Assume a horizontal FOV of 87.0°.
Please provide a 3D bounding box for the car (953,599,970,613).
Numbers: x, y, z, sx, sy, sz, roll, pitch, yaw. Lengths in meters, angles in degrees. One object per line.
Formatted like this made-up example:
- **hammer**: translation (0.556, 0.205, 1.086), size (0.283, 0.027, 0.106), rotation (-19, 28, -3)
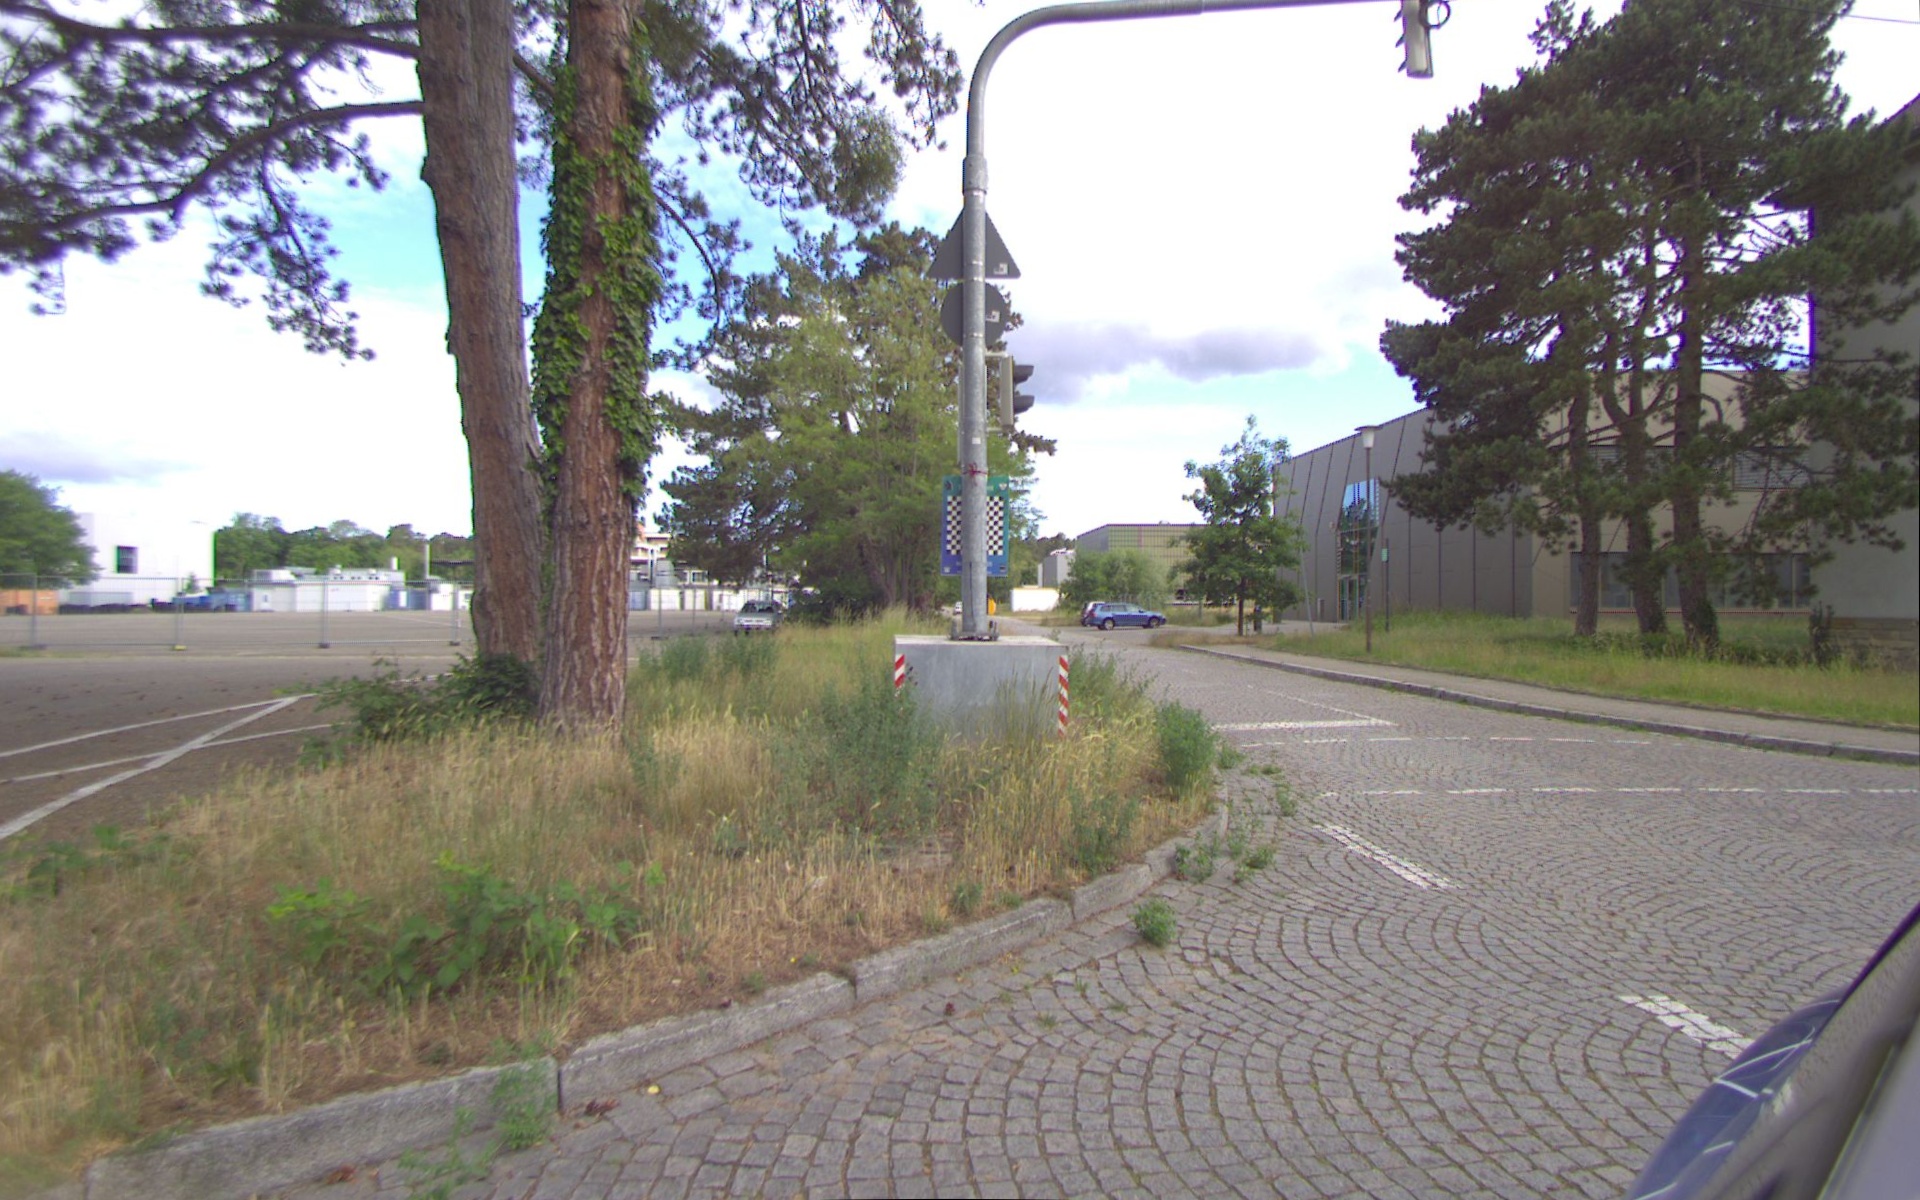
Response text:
- **car**: translation (0.164, 0.618, 113.548), size (1.850, 1.544, 4.001), rotation (0, 0, -2)

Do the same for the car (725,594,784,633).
- **car**: translation (-8.328, 0.529, 41.344), size (1.933, 1.501, 4.004), rotation (0, 0, -5)

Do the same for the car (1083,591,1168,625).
- **car**: translation (9.226, 0.445, 56.623), size (4.388, 1.854, 2.001), rotation (0, 0, -3)
